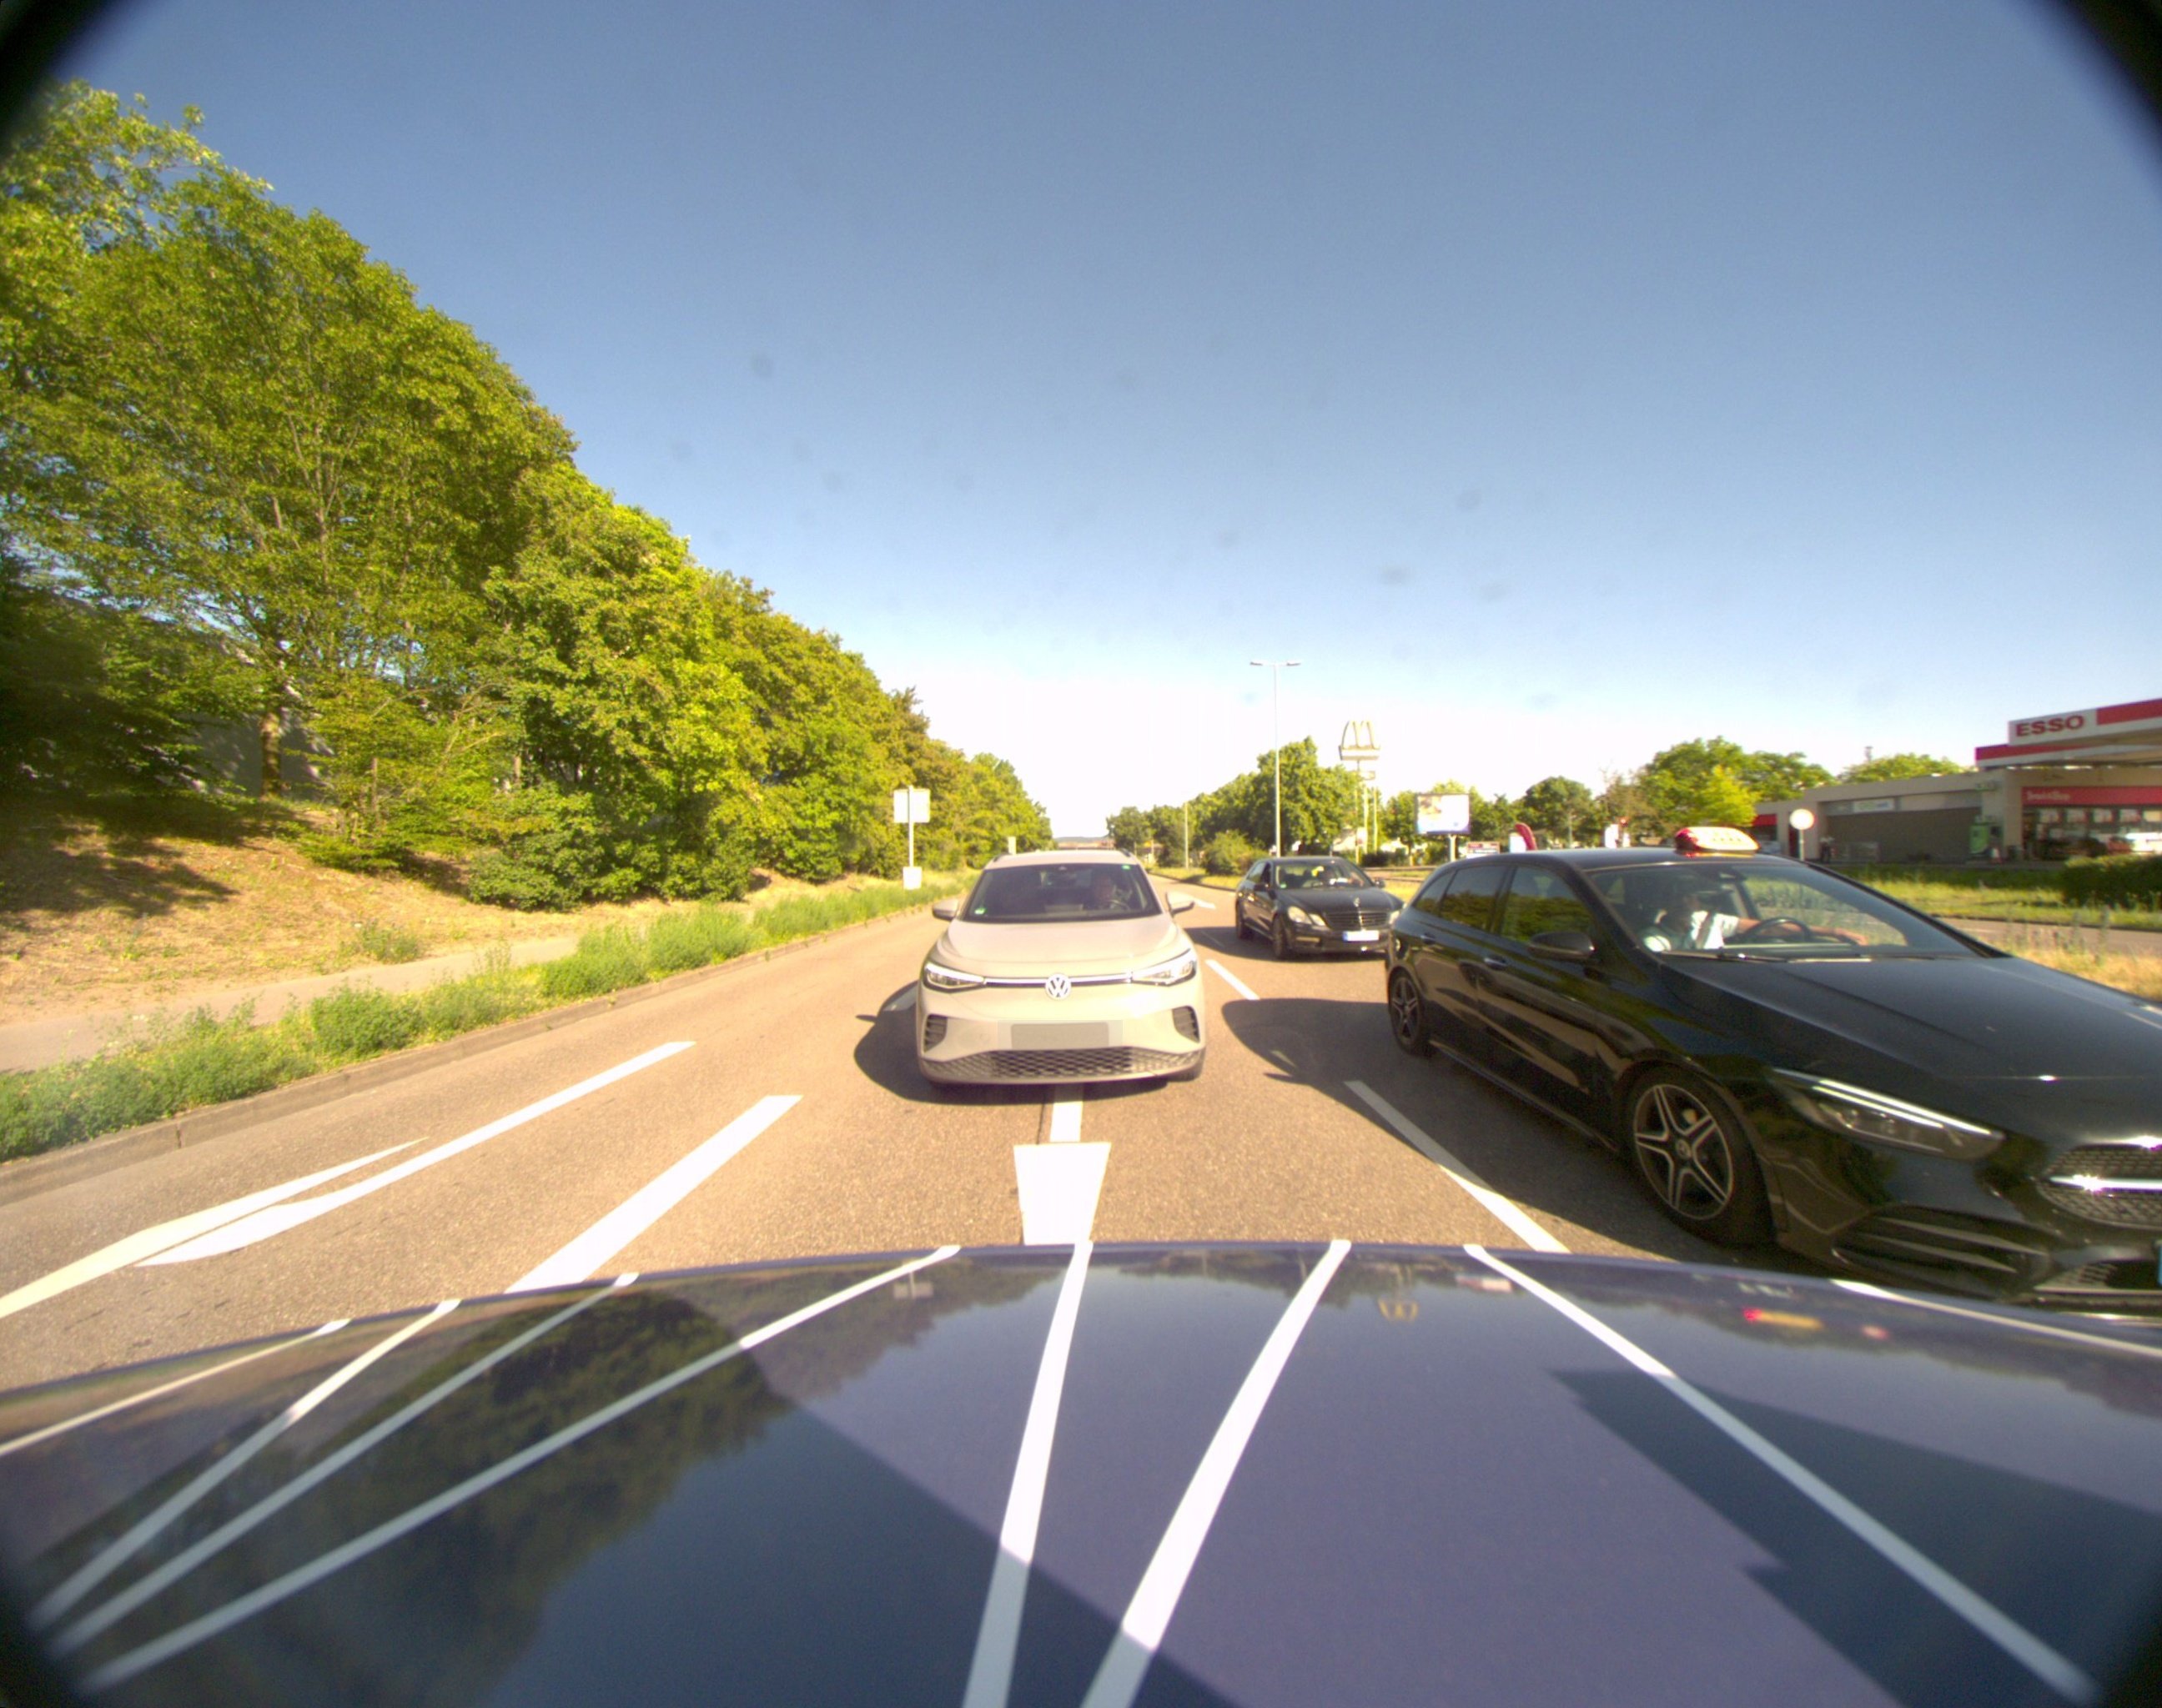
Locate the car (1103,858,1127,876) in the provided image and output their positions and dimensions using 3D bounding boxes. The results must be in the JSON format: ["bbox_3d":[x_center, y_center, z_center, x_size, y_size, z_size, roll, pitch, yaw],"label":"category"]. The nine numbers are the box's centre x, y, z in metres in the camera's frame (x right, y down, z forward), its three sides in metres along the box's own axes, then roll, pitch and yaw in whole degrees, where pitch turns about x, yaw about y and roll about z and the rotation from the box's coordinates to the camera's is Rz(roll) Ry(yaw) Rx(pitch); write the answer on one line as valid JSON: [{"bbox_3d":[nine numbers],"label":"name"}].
[{"bbox_3d":[2.968,1.112,67.050,1.998,1.434,4.000,-2,1,2],"label":"car"}]

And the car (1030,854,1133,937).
[{"bbox_3d":[0.038,0.837,17.410,2.036,1.601,4.098,-2,0,1],"label":"car"}]

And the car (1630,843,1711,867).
[{"bbox_3d":[36.799,0.077,47.577,1.998,1.397,4.000,-1,0,0],"label":"car"}]

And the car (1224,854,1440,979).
[{"bbox_3d":[3.675,0.807,12.079,1.953,1.501,4.462,-2,1,1],"label":"car"}]

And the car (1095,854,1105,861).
[{"bbox_3d":[4.027,0.826,161.581,1.998,1.433,4.000,-1,0,1],"label":"car"}]

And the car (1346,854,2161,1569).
[{"bbox_3d":[3.126,0.819,4.031,1.788,1.592,4.583,-2,0,0],"label":"car"}]

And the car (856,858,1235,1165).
[{"bbox_3d":[-0.169,0.879,6.231,2.025,1.601,4.098,-2,0,1],"label":"car"}]
